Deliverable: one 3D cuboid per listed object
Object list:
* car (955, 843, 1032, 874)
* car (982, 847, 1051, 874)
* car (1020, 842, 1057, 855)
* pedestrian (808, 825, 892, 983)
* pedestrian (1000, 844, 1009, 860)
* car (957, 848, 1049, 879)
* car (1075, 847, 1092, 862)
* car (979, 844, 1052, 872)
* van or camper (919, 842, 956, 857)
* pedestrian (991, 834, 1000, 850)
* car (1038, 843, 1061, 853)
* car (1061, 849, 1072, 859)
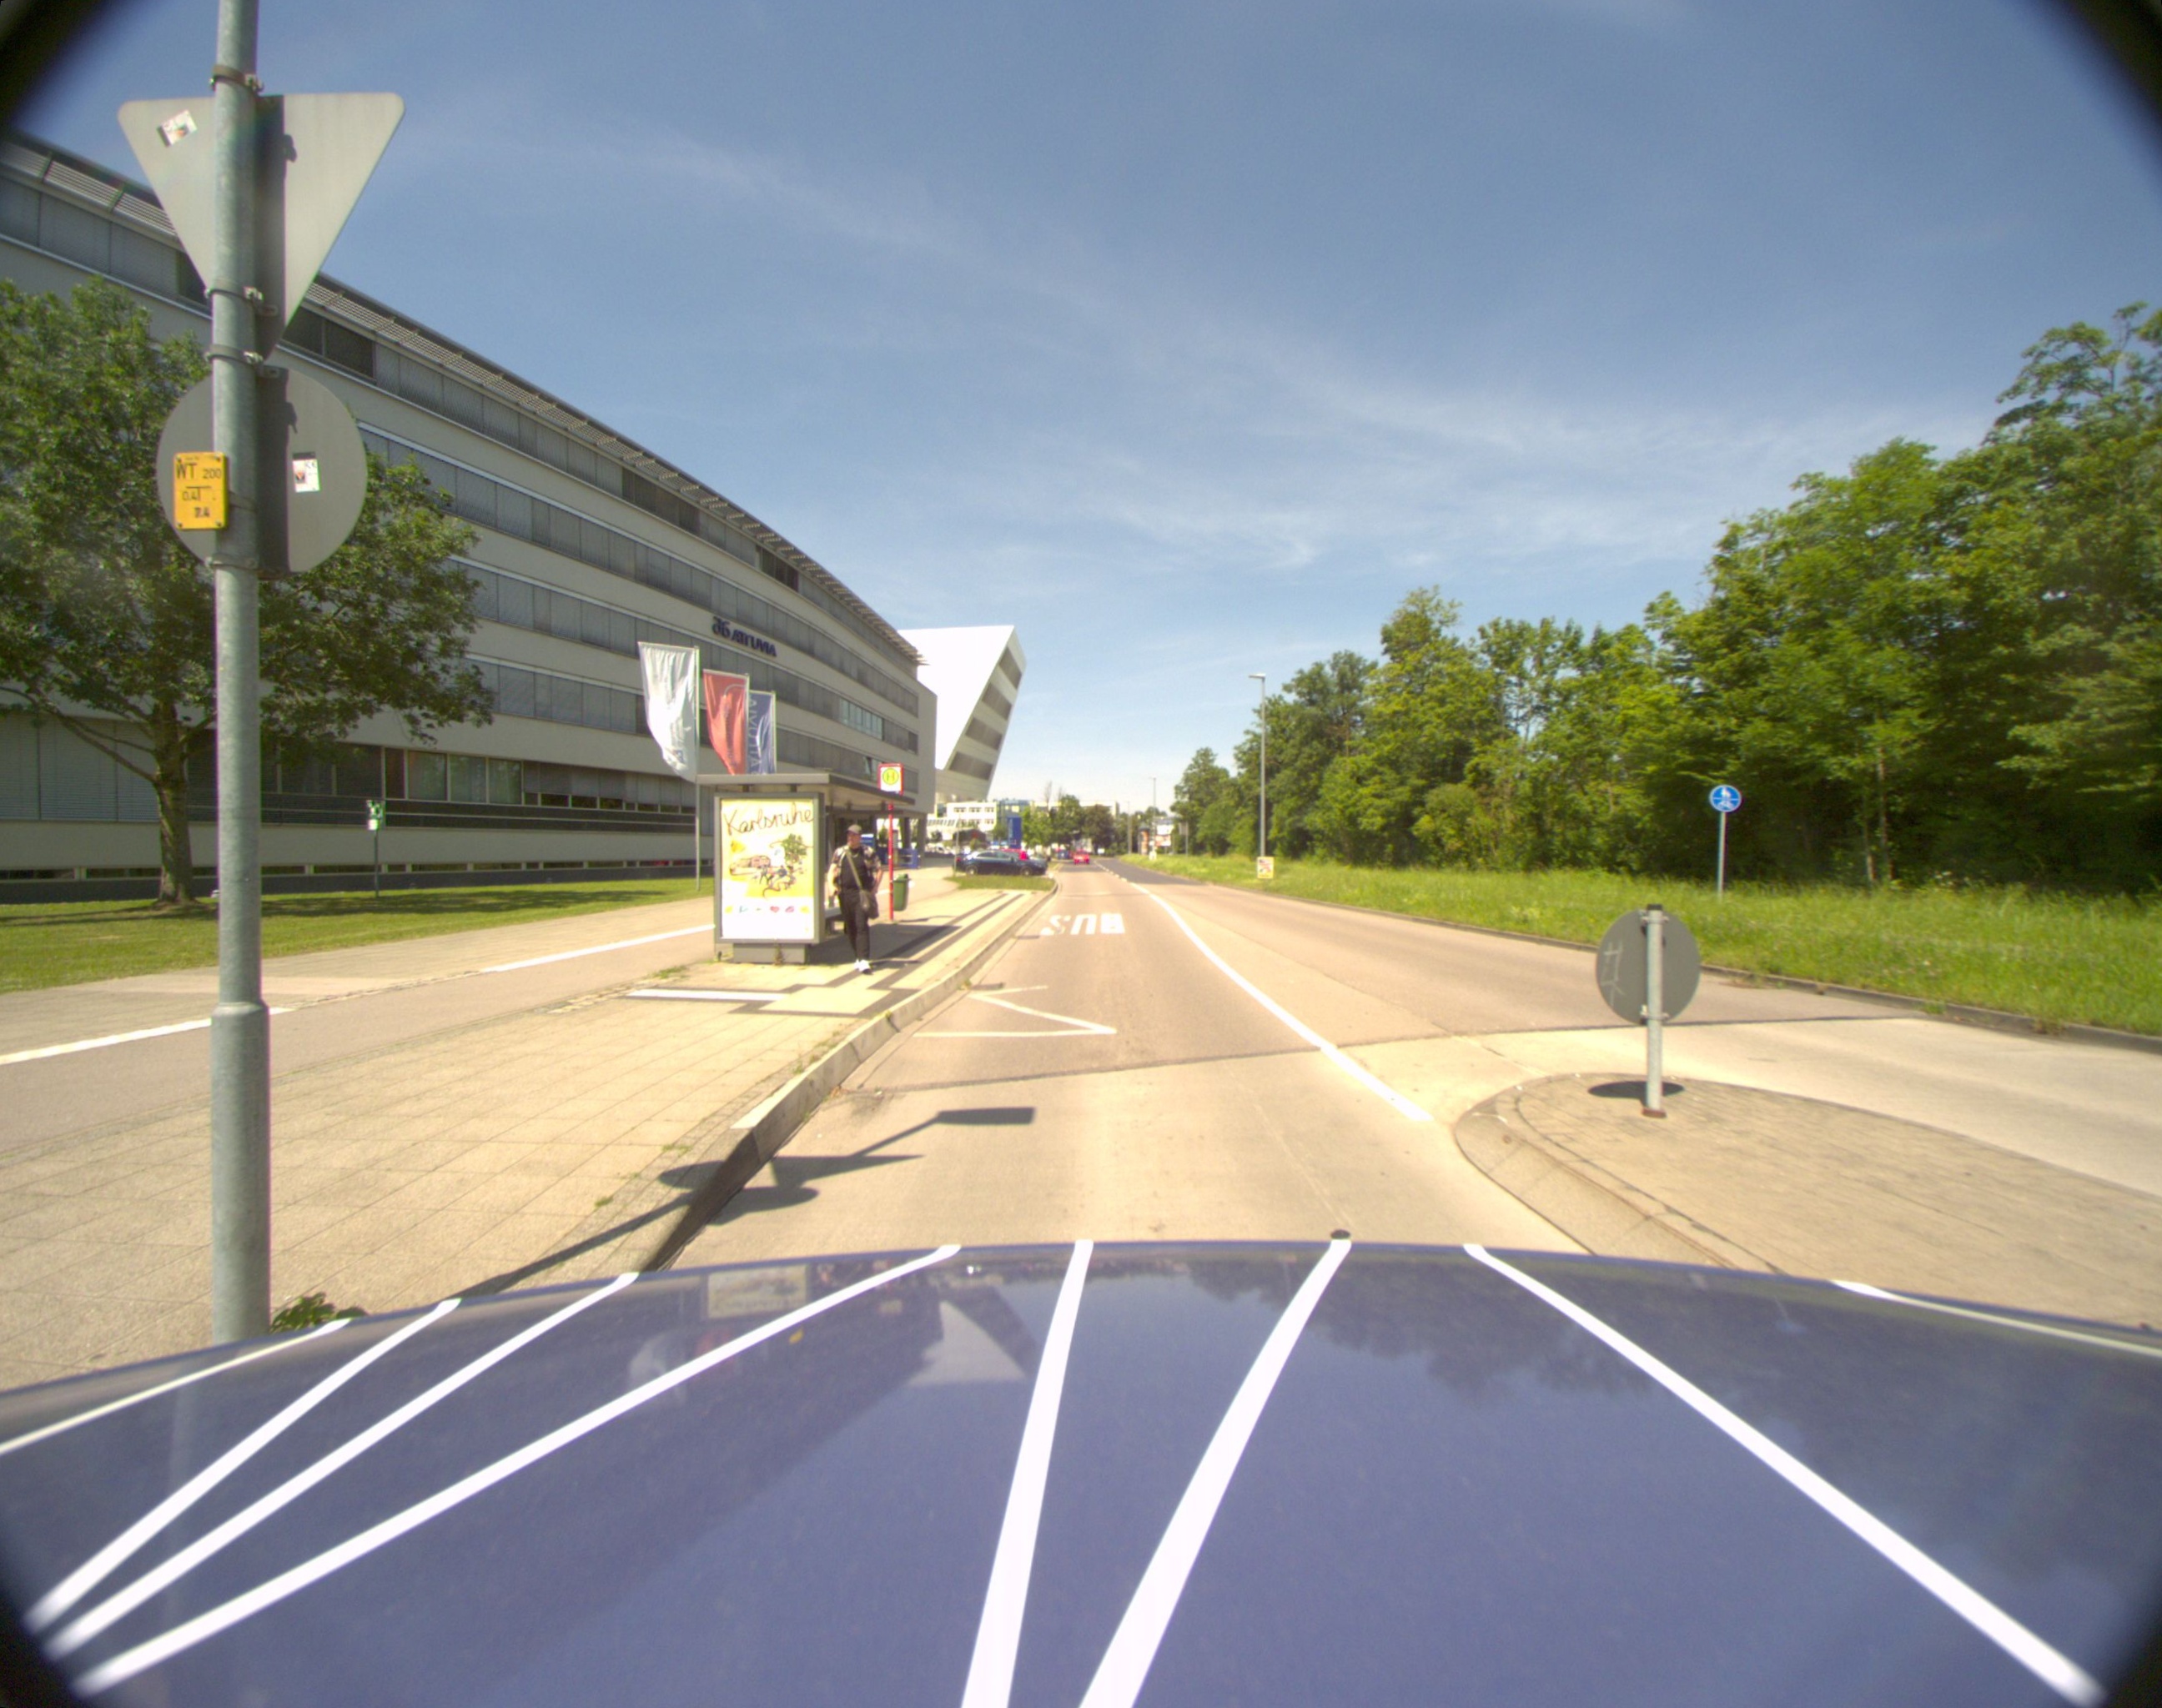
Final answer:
[{"bbox_3d":[-4.790,0.228,42.147,3.996,1.645,1.839,0,1,2],"label":"car"},{"bbox_3d":[-3.732,0.388,44.328,3.816,1.477,1.655,1,1,2],"label":"car"},{"bbox_3d":[-7.906,-1.040,140.460,6.492,2.137,2.165,-1,1,6],"label":"car"},{"bbox_3d":[-2.774,0.579,9.205,0.710,1.812,0.826,2,1,0],"label":"pedestrian"},{"bbox_3d":[-7.993,-0.224,78.996,0.844,1.691,0.775,-1,1,-1],"label":"pedestrian"},{"bbox_3d":[-3.986,0.469,39.466,4.579,1.424,1.827,2,1,-1],"label":"car"},{"bbox_3d":[0.262,0.080,80.396,1.662,1.495,3.357,-1,1,2],"label":"car"},{"bbox_3d":[-3.988,0.238,46.744,4.331,1.555,1.786,1,1,1],"label":"car"},{"bbox_3d":[-23.287,-0.738,123.328,5.699,2.376,1.704,-1,1,6],"label":"van or camper"},{"bbox_3d":[-8.881,-1.265,78.904,0.844,1.650,0.775,-1,1,-1],"label":"pedestrian"},{"bbox_3d":[-6.039,-1.172,146.204,4.204,1.964,1.704,-1,1,6],"label":"car"},{"bbox_3d":[-2.339,0.011,121.612,1.802,1.490,3.999,-1,1,-1],"label":"car"}]
